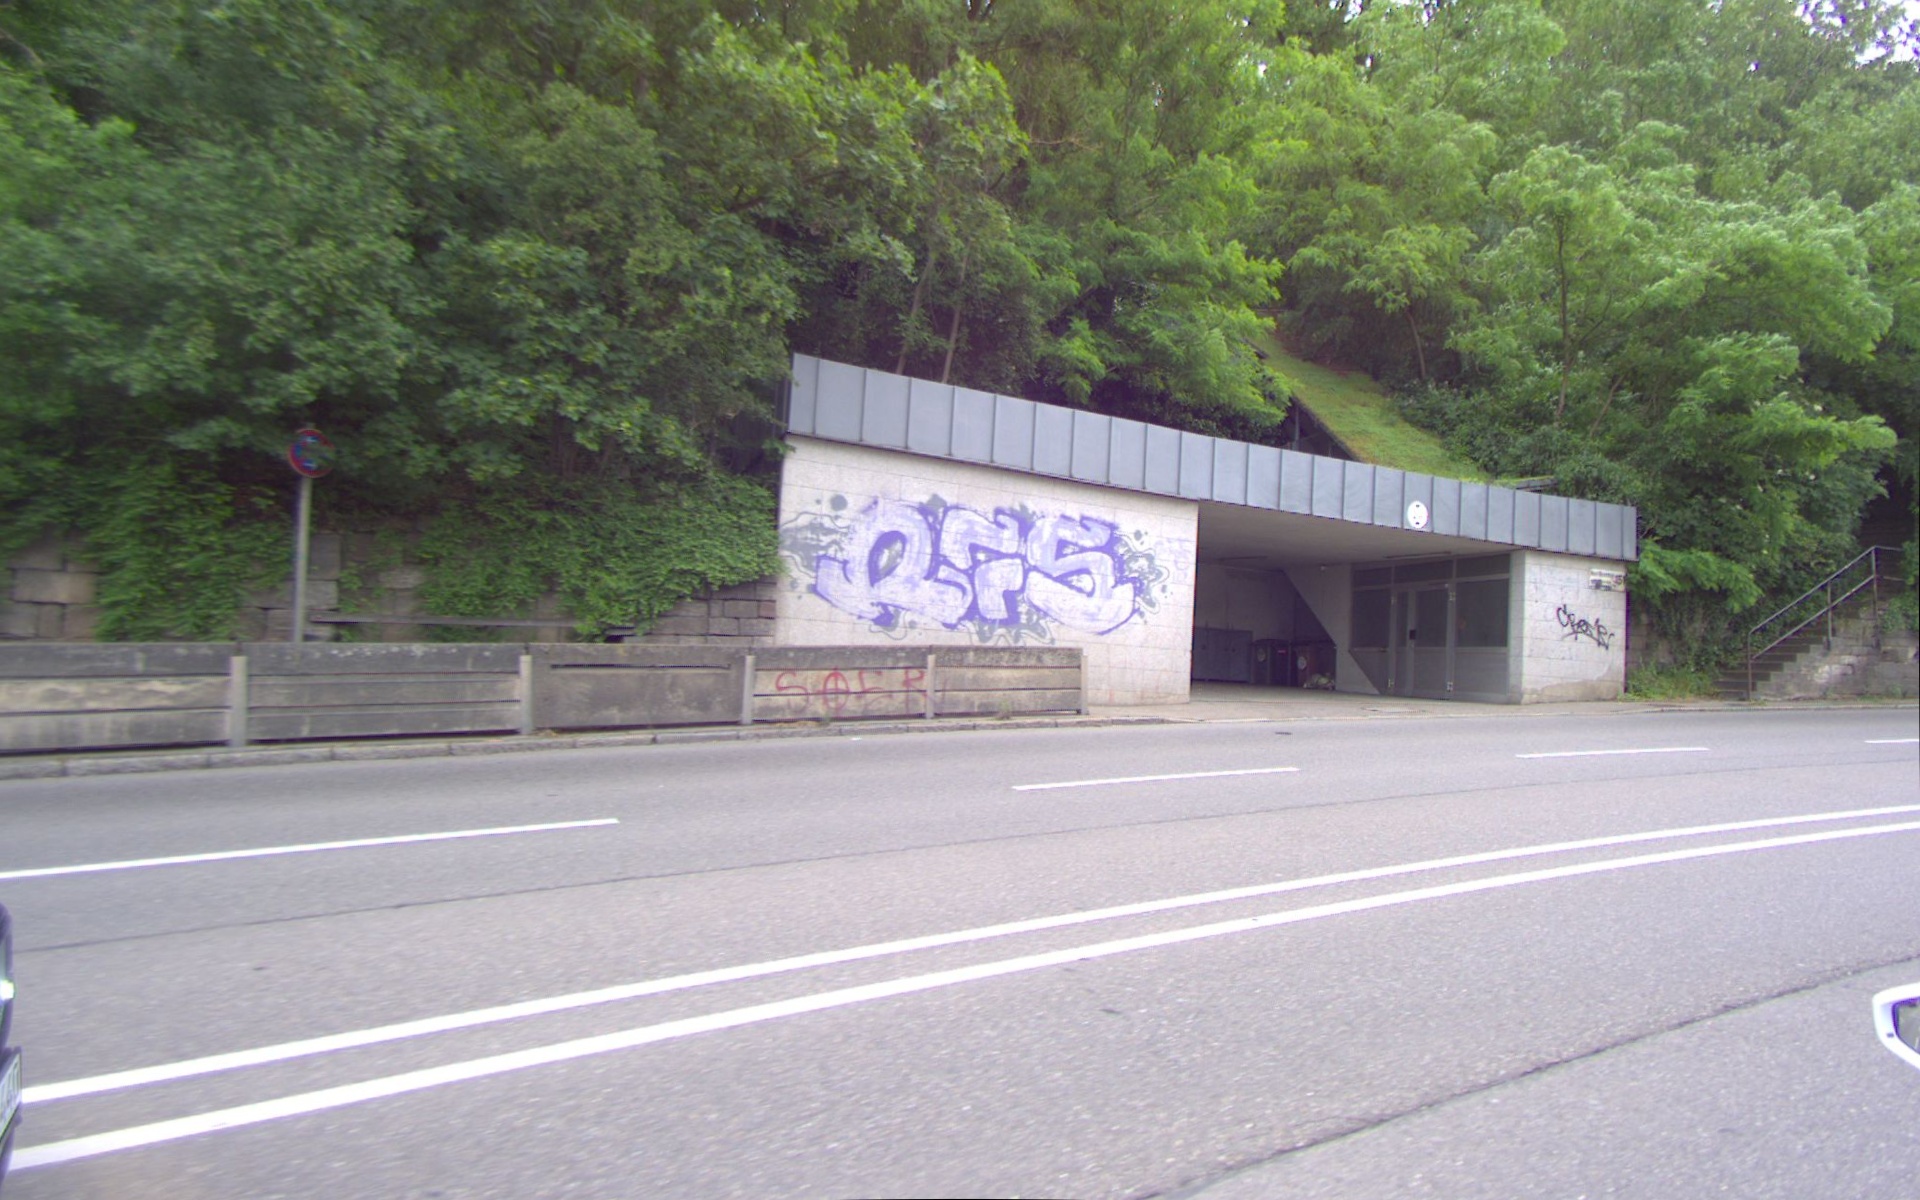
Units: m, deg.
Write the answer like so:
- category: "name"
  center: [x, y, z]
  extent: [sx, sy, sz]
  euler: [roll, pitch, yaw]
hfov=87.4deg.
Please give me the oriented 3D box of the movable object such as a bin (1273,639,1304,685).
- category: "movable object such as a bin"
  center: [7.575, 1.428, 23.161]
  extent: [0.500, 1.010, 0.427]
  euler: [2, 1, -11]

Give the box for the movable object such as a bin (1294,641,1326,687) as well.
- category: "movable object such as a bin"
  center: [7.915, 1.447, 22.718]
  extent: [0.489, 1.010, 0.427]
  euler: [2, 1, -11]

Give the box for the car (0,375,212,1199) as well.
- category: "car"
  center: [-3.673, 0.451, 0.629]
  extent: [4.973, 1.597, 1.923]
  euler: [2, 1, -33]

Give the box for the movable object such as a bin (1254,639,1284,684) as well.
- category: "movable object such as a bin"
  center: [7.323, 1.452, 23.839]
  extent: [0.470, 1.010, 0.496]
  euler: [2, 1, -11]
